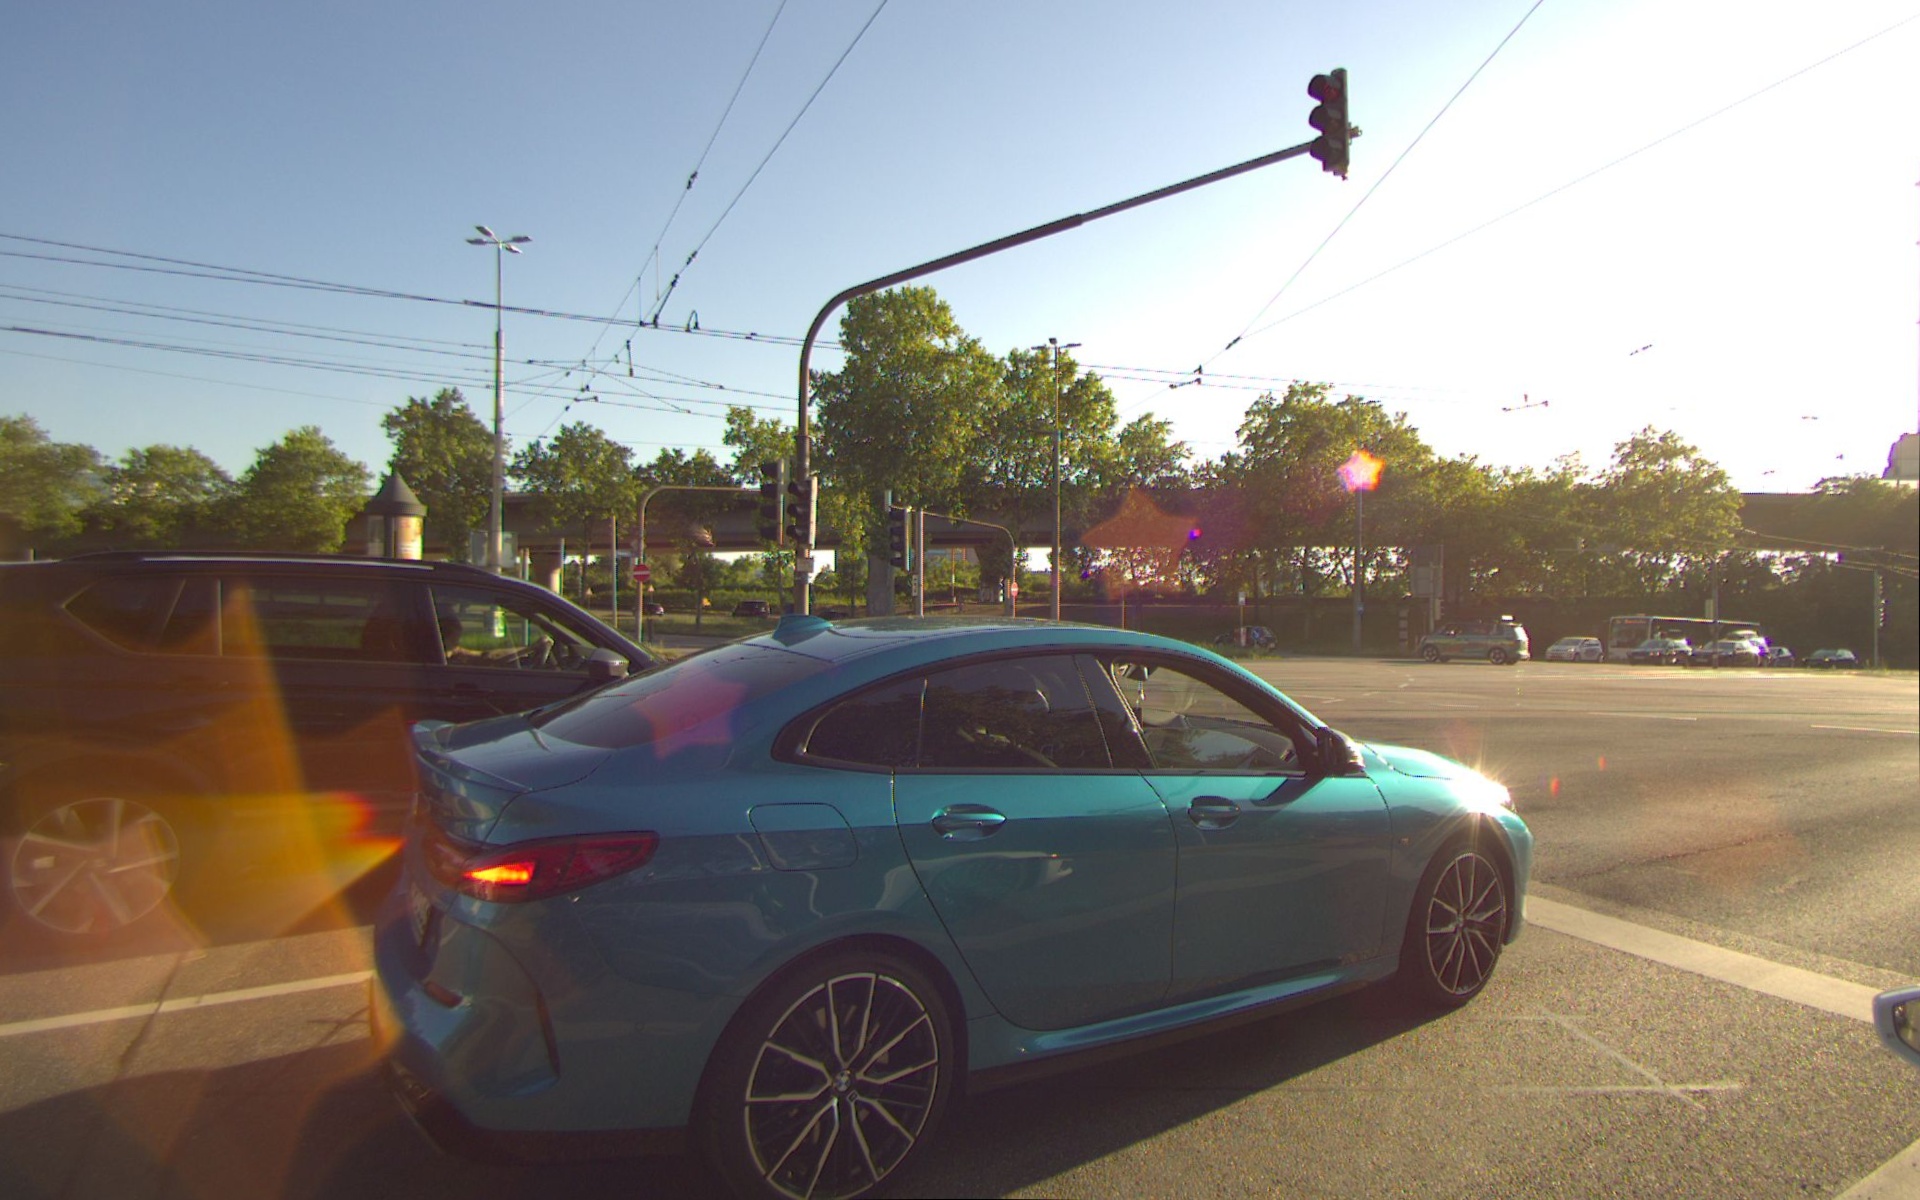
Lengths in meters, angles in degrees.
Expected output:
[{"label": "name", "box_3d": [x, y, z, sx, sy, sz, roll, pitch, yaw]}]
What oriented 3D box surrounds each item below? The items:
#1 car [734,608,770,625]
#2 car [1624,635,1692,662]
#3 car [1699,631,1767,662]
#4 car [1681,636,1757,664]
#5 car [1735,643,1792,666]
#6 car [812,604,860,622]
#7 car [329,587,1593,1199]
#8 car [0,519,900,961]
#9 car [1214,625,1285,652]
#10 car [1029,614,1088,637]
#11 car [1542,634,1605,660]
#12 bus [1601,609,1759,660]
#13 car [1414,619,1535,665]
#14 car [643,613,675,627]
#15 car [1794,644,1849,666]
[{"label": "car", "box_3d": [-21.803, 1.715, 105.182, 1.982, 1.644, 4.486, 2, -1, -38]}, {"label": "car", "box_3d": [37.873, 2.609, 54.471, 3.956, 1.372, 1.595, 2, -1, -32]}, {"label": "car", "box_3d": [44.833, 2.710, 58.269, 4.046, 1.674, 1.703, 2, -1, -30]}, {"label": "car", "box_3d": [39.552, 2.593, 52.320, 4.046, 1.372, 1.703, 2, -1, -30]}, {"label": "car", "box_3d": [54.582, 3.707, 68.247, 3.952, 1.461, 1.692, 2, -1, -30]}, {"label": "car", "box_3d": [-10.855, 1.122, 87.523, 1.984, 1.473, 4.480, 2, -1, -41]}, {"label": "car", "box_3d": [0.308, 0.759, 3.738, 4.465, 1.436, 1.774, 2, -1, -33]}, {"label": "car", "box_3d": [-2.792, 0.589, 5.561, 4.550, 1.703, 1.905, 2, -1, -32]}, {"label": "car", "box_3d": [16.981, 2.250, 59.030, 1.685, 1.441, 3.686, 2, -1, -43]}, {"label": "car", "box_3d": [6.422, 1.651, 65.610, 1.685, 1.441, 3.686, 2, -1, -43]}, {"label": "car", "box_3d": [35.065, 2.684, 57.357, 3.693, 1.372, 1.595, 2, -1, -32]}, {"label": "bus", "box_3d": [45.355, 2.191, 63.111, 12.694, 2.993, 2.811, 2, -1, -28]}, {"label": "car", "box_3d": [23.970, 1.927, 46.863, 1.987, 1.930, 4.642, 2, -1, -45]}, {"label": "car", "box_3d": [-33.596, 2.198, 112.018, 1.982, 1.473, 4.485, 2, -1, -38]}, {"label": "car", "box_3d": [60.777, 3.868, 70.867, 3.952, 1.461, 1.692, 2, -1, -30]}]
